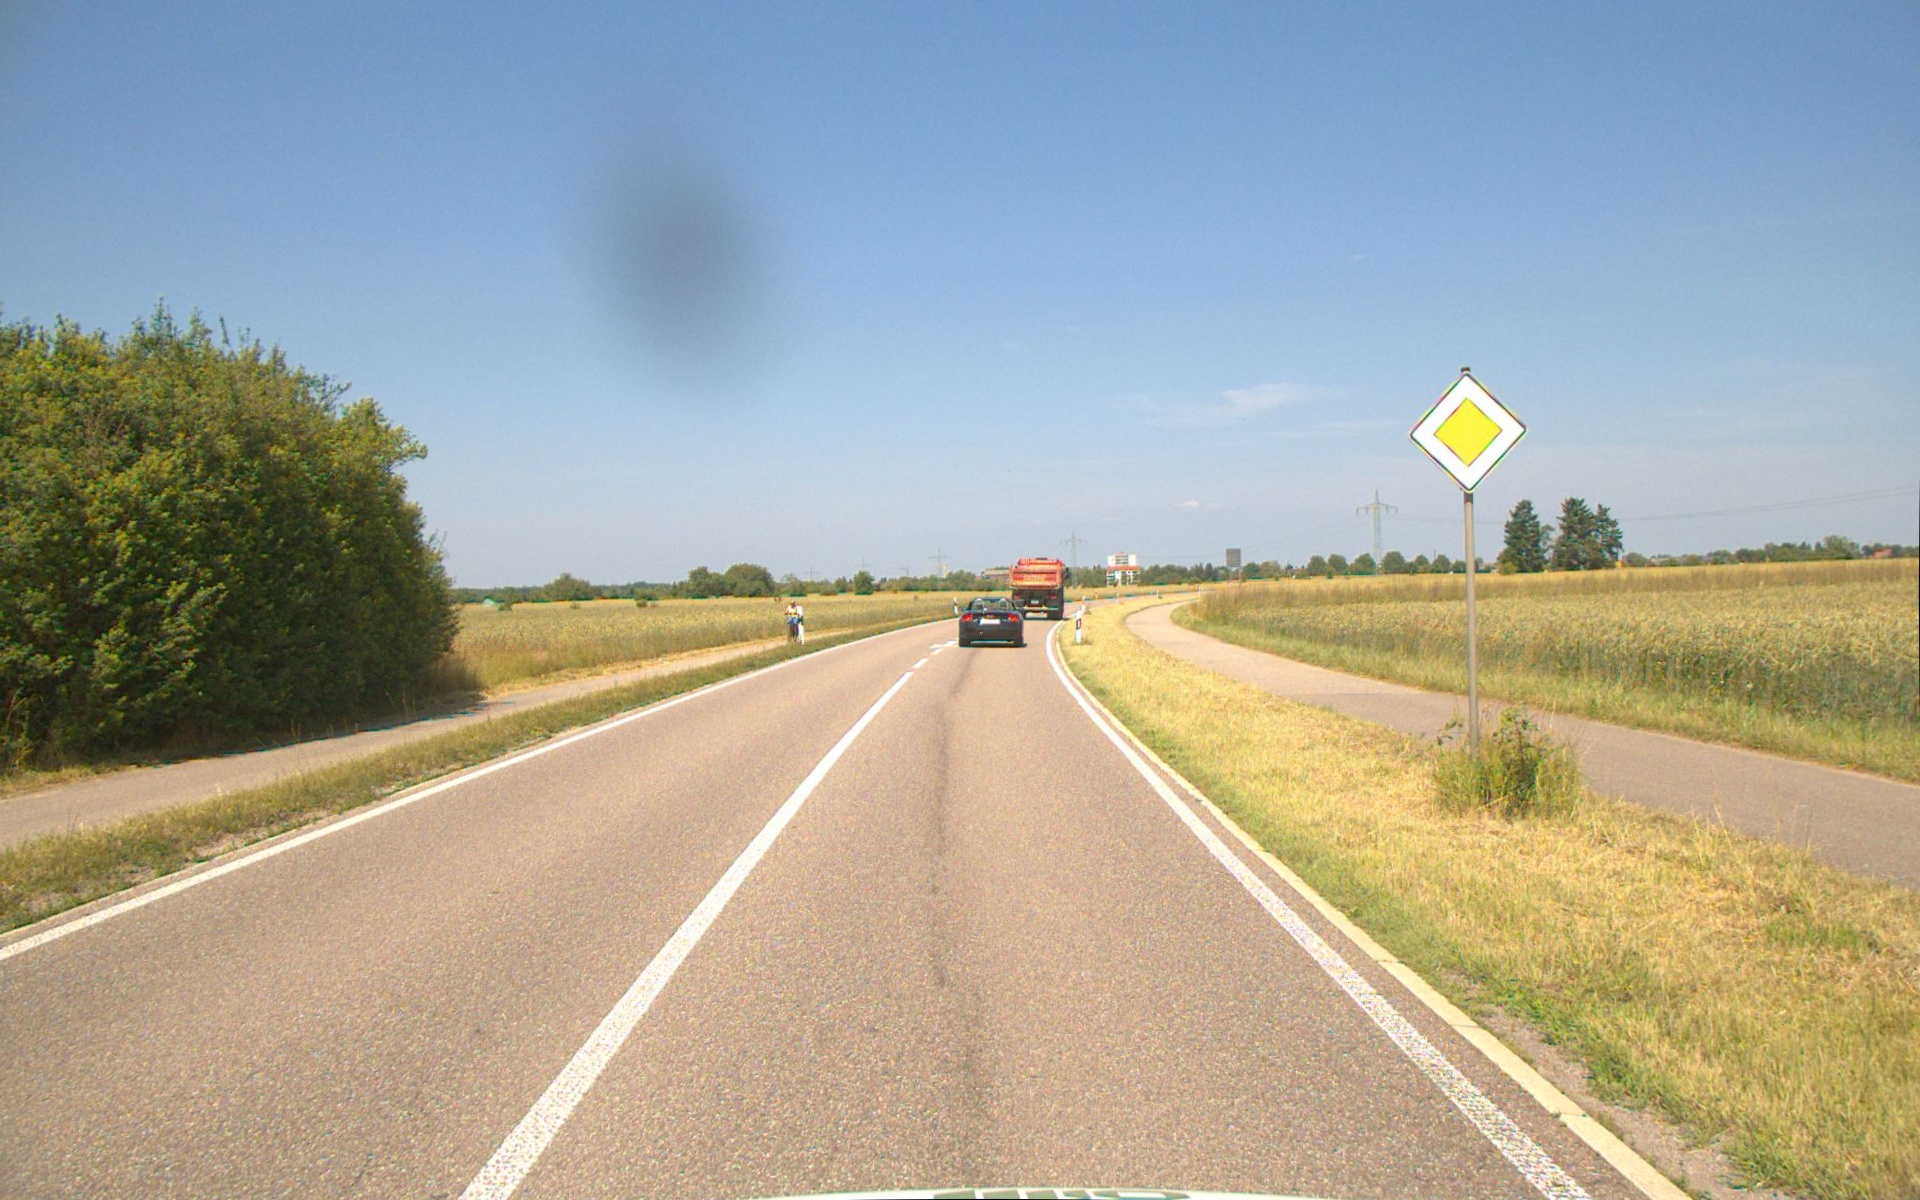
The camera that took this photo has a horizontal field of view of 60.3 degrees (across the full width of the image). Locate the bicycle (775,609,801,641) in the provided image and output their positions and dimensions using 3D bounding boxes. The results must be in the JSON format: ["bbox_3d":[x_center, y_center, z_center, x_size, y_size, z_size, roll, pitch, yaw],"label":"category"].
[{"bbox_3d":[-6.876,0.990,66.310,0.679,1.197,1.964,-2,1,3],"label":"bicycle"}]

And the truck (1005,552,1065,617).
[{"bbox_3d":[3.886,-0.765,84.143,2.876,3.143,7.200,0,0,4],"label":"truck"}]

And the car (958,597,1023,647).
[{"bbox_3d":[0.840,0.568,45.472,1.708,1.302,4.000,0,0,1],"label":"car"}]

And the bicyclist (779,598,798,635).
[{"bbox_3d":[-6.880,0.661,66.337,0.650,1.463,0.823,0,0,3],"label":"bicyclist"}]
